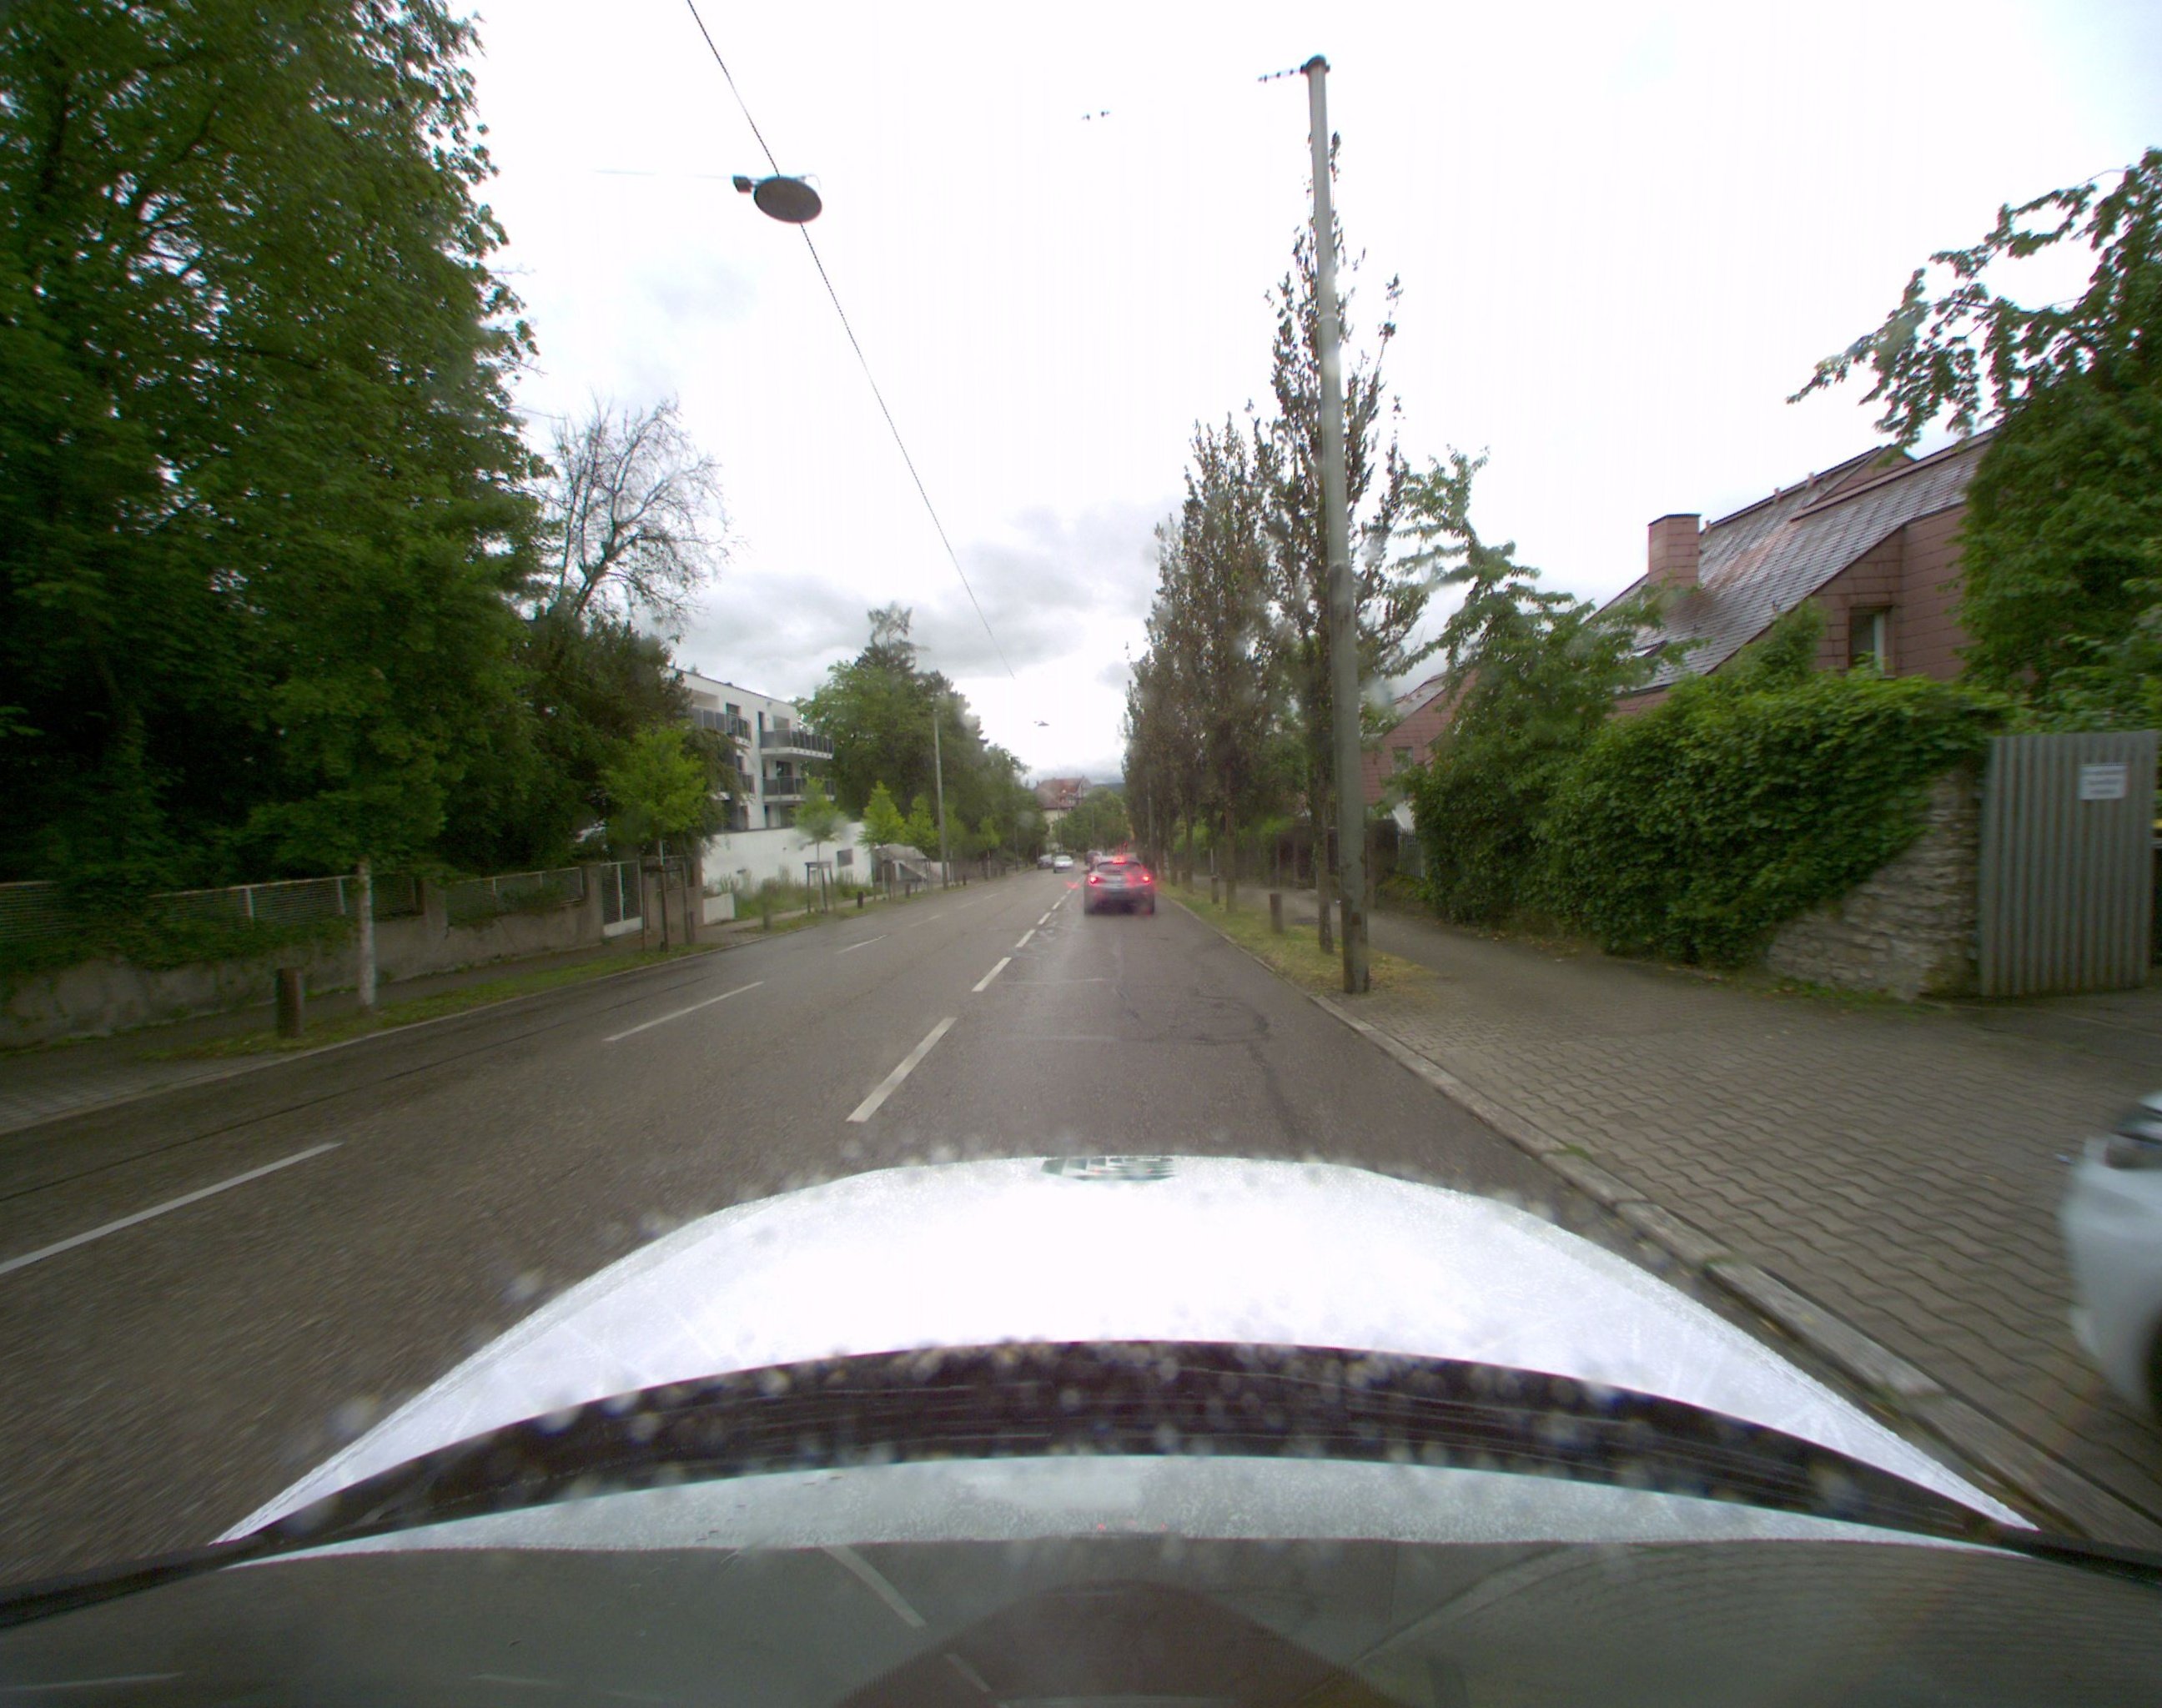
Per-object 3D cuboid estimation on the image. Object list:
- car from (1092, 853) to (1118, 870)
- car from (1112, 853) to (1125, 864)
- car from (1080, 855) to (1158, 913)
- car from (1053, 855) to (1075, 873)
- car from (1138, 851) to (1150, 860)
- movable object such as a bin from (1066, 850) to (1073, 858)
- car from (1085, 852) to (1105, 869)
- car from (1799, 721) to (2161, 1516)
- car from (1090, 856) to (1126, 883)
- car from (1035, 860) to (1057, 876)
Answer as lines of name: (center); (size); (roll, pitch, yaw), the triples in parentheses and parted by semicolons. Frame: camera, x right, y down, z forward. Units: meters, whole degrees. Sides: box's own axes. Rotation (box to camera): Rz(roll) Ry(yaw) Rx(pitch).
car: (2.206, 0.658, 73.826); (1.950, 1.472, 3.959); (1, 1, 7)
car: (6.040, 0.705, 132.243); (1.745, 1.651, 4.008); (1, 0, 7)
car: (1.003, 0.760, 22.126); (1.938, 1.432, 3.885); (0, 0, 2)
car: (-1.436, 0.883, 71.548); (1.756, 1.486, 3.999); (-3, -1, 0)
car: (14.315, 0.344, 185.367); (2.320, 2.036, 4.747); (1, 1, 9)
movable object such as a bin: (-2.040, 0.032, 148.080); (1.265, 1.387, 0.490); (0, 0, 6)
car: (1.626, 0.674, 90.933); (1.759, 1.781, 3.985); (1, 1, 7)
car: (3.084, 0.488, 0.422); (1.819, 1.629, 3.999); (-4, 0, 0)
car: (1.485, 0.789, 43.569); (1.790, 1.323, 4.004); (-1, 0, 3)
car: (-3.627, 1.409, 84.555); (1.738, 1.549, 3.921); (-3, -1, 4)
